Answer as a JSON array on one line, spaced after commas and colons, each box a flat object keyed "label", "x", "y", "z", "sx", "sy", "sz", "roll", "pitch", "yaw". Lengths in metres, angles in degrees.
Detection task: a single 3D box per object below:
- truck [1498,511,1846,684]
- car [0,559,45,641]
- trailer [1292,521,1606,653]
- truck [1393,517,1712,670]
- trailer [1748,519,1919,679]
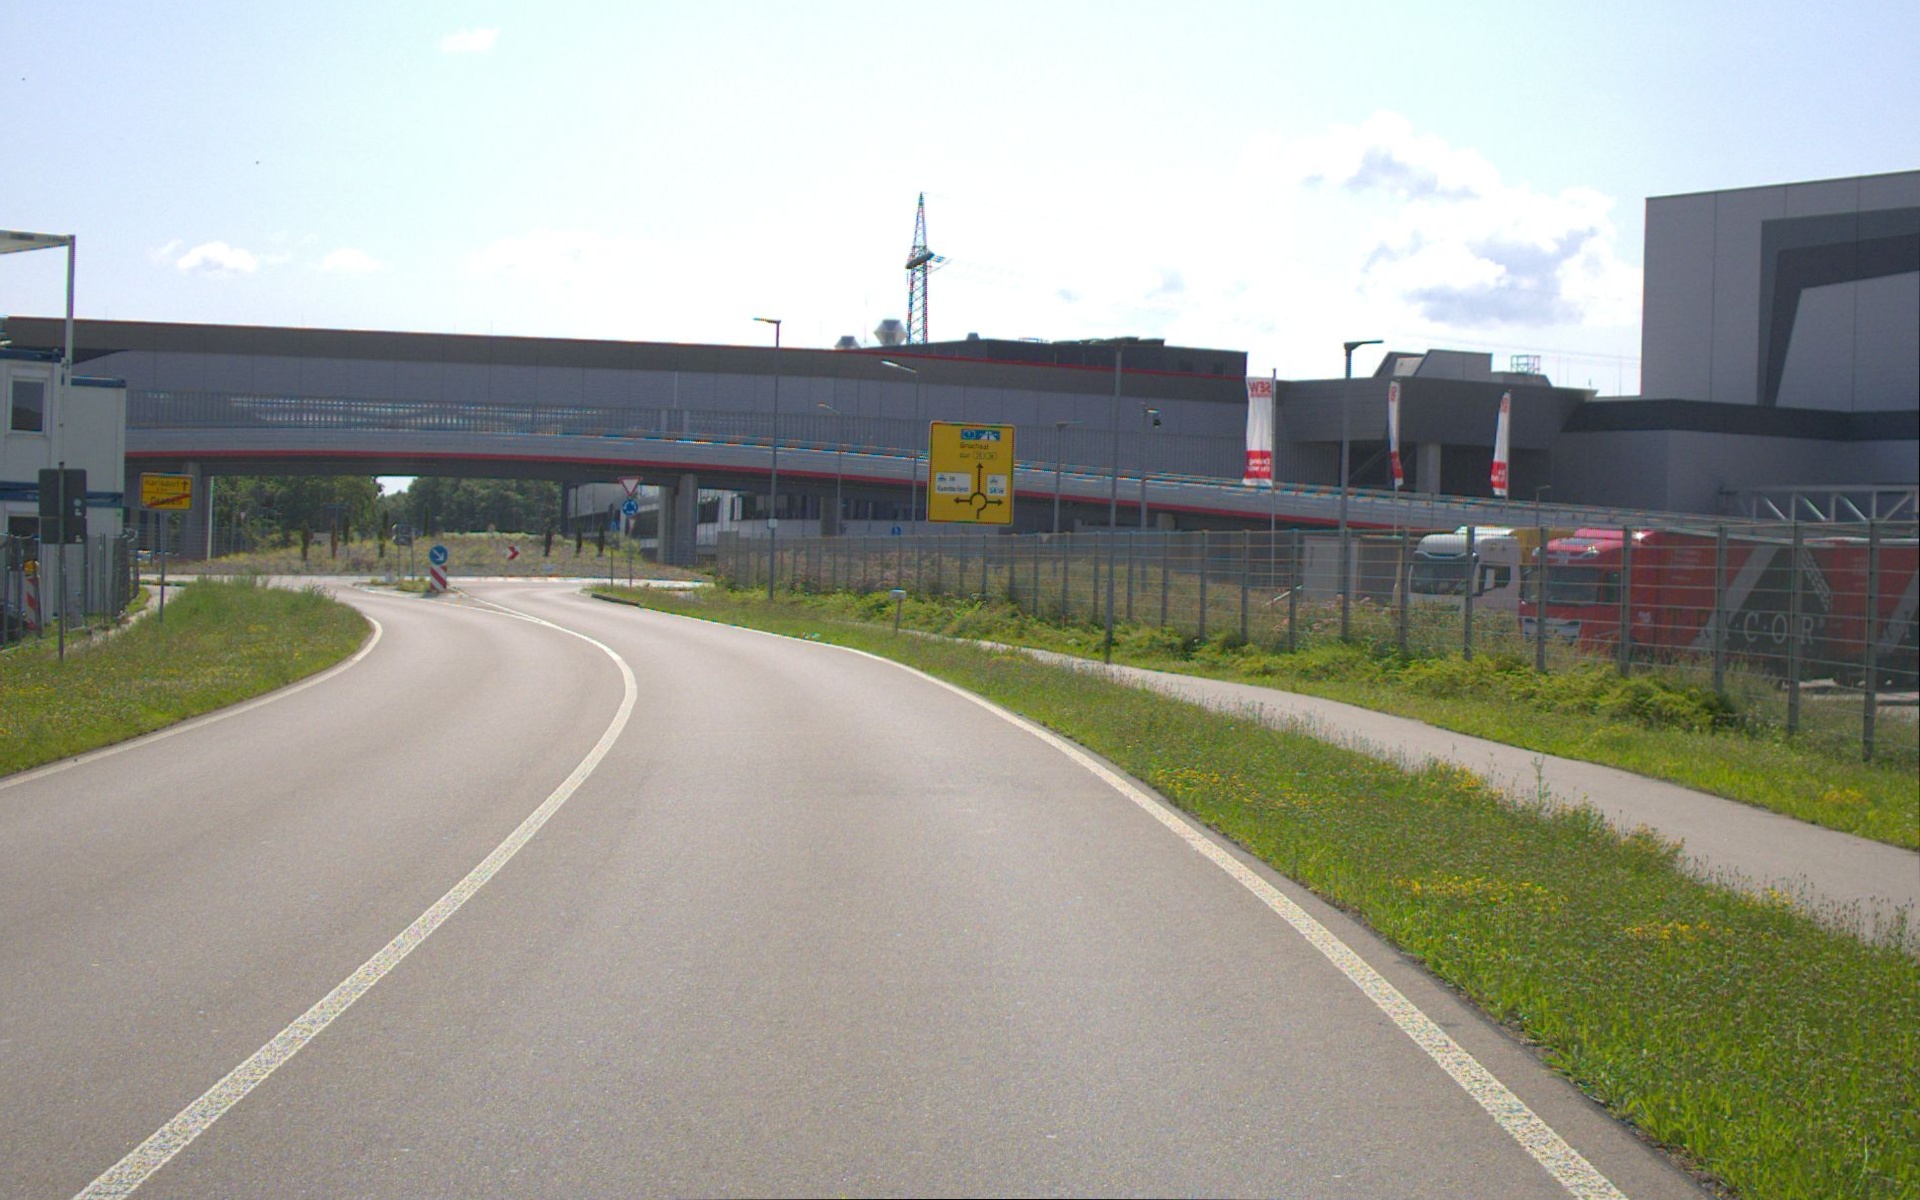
[{"label": "truck", "x": 18.576, "y": -0.074, "z": 89.047, "sx": 10.943, "sy": 4.242, "sz": 3.027, "roll": 0, "pitch": 0, "yaw": -43}, {"label": "car", "x": -19.030, "y": -0.059, "z": 61.528, "sx": 4.967, "sy": 1.412, "sz": 2.001, "roll": 1, "pitch": 1, "yaw": -19}, {"label": "trailer", "x": 17.352, "y": -0.435, "z": 120.728, "sx": 14.025, "sy": 4.423, "sz": 2.765, "roll": 0, "pitch": 0, "yaw": -43}, {"label": "truck", "x": 17.025, "y": -0.189, "z": 98.076, "sx": 10.943, "sy": 4.158, "sz": 2.821, "roll": 0, "pitch": 0, "yaw": -42}, {"label": "trailer", "x": 25.758, "y": -0.037, "z": 95.692, "sx": 8.691, "sy": 4.281, "sz": 3.027, "roll": 0, "pitch": 0, "yaw": -42}]
